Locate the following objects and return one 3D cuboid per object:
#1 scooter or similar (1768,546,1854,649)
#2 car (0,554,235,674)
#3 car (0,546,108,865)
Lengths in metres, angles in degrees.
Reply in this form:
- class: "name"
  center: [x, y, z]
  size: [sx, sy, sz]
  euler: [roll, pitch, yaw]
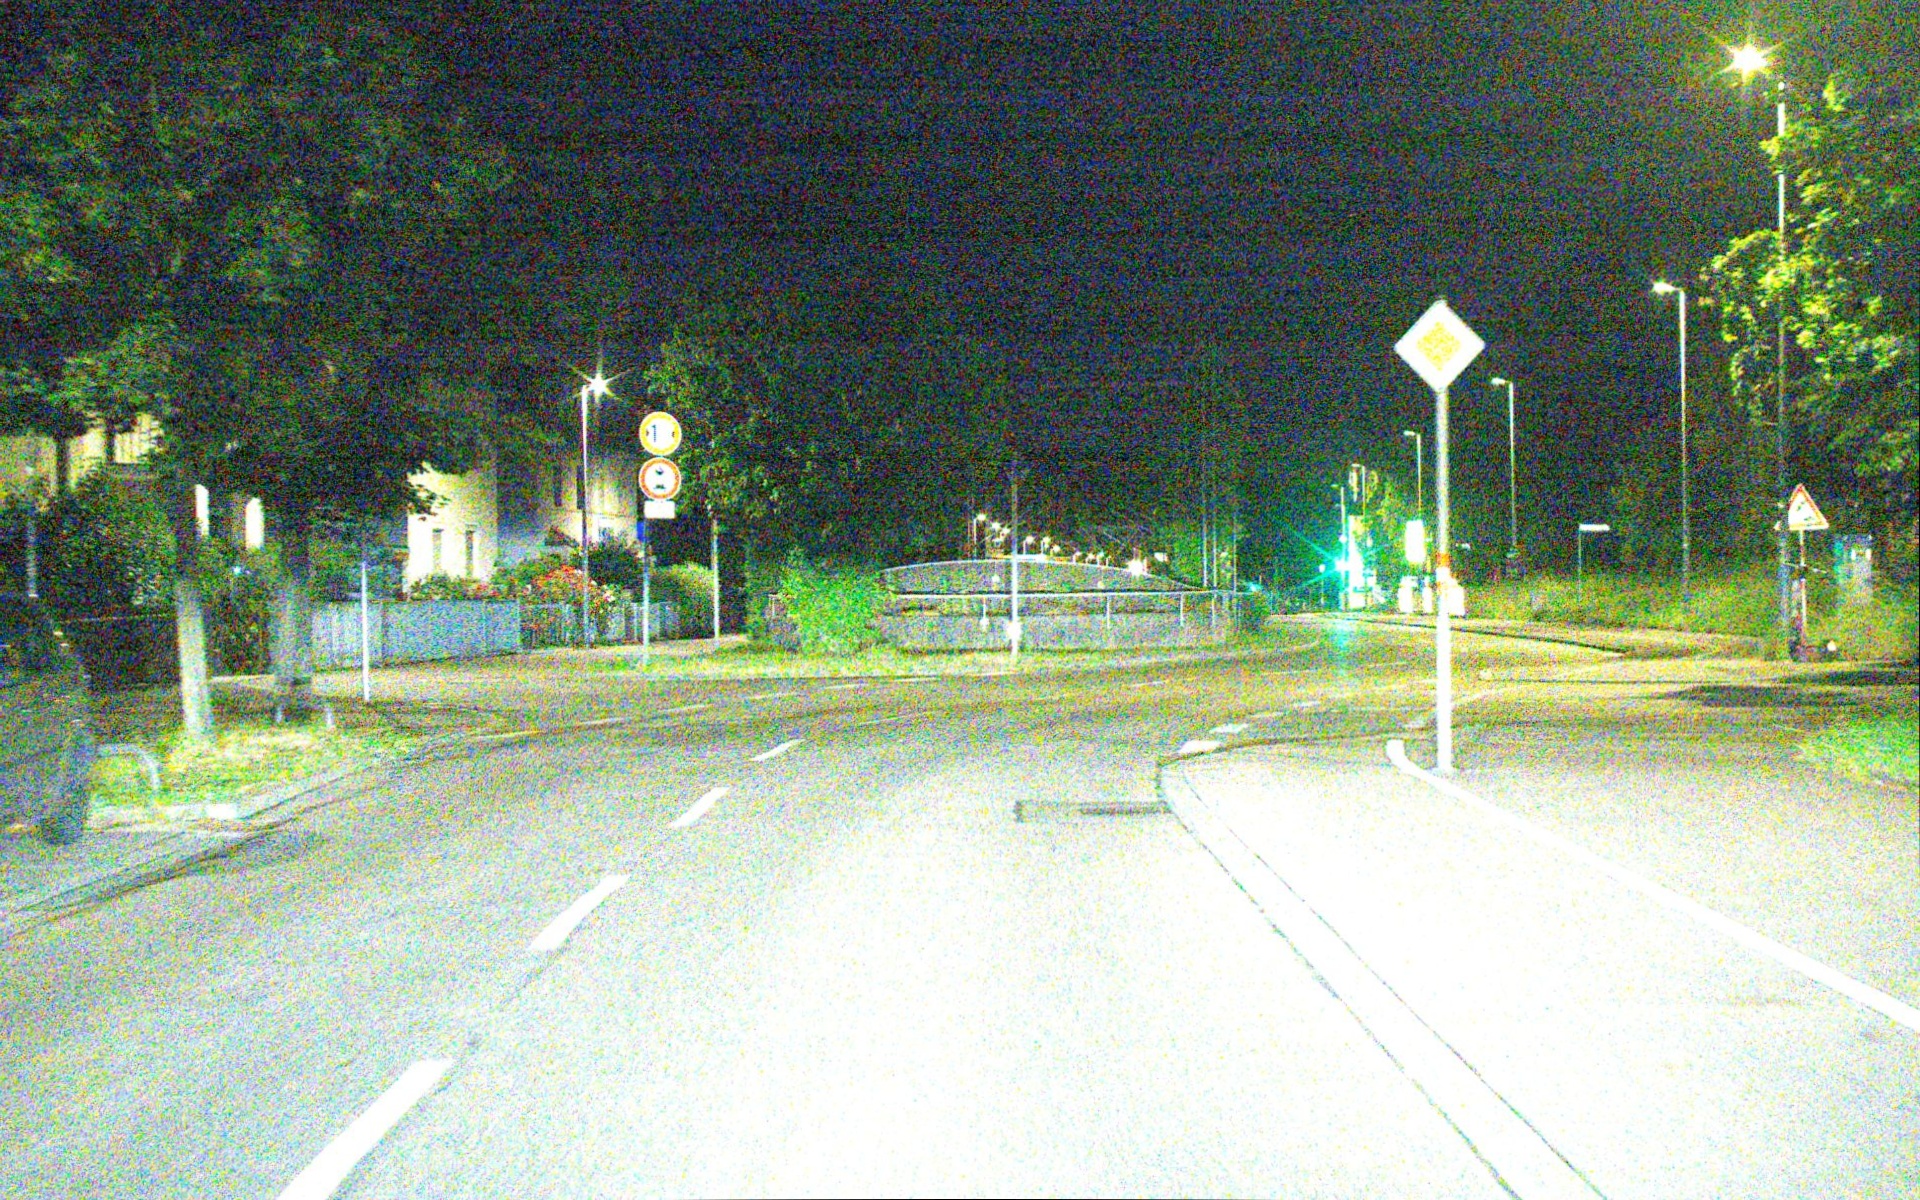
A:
- class: "scooter or similar"
  center: [10.825, -0.044, 43.786]
  size: [0.611, 1.277, 1.690]
  euler: [0, 1, -2]
- class: "car"
  center: [-12.271, 0.199, 48.178]
  size: [3.716, 1.621, 1.781]
  euler: [-1, 0, 19]
- class: "car"
  center: [-5.630, 0.520, 17.481]
  size: [1.672, 1.585, 3.987]
  euler: [0, 1, -1]
